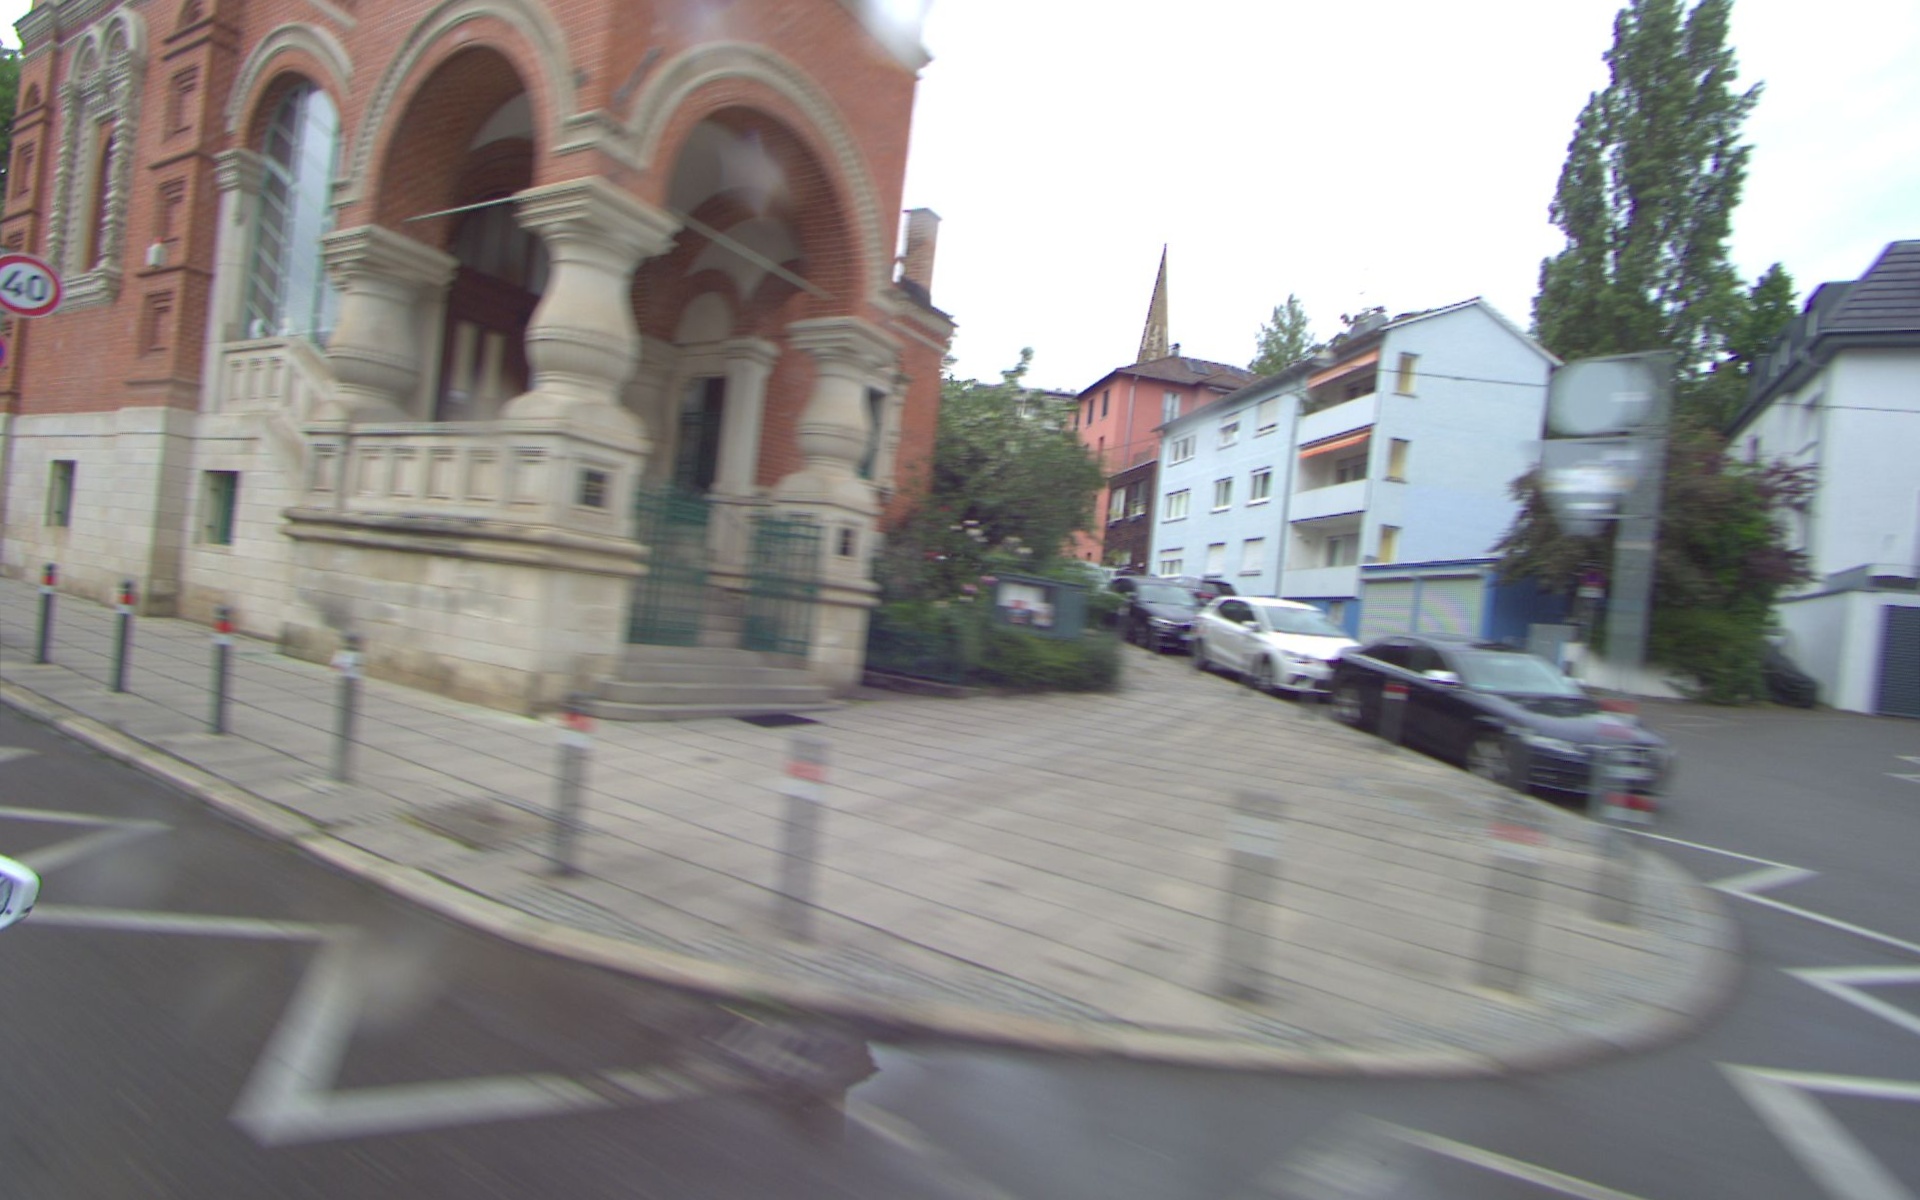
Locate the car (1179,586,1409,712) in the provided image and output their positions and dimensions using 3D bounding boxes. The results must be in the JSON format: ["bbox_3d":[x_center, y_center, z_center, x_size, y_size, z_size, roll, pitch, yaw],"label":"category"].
[{"bbox_3d":[5.511,0.728,17.200,1.914,1.516,3.916,6,3,-11],"label":"car"}]

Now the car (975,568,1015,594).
[{"bbox_3d":[2.277,-1.284,66.386,1.798,1.423,3.992,8,0,-8],"label":"car"}]

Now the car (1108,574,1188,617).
[{"bbox_3d":[7.477,-0.176,40.376,1.798,1.423,3.995,8,-1,-8],"label":"car"}]

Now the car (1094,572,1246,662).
[{"bbox_3d":[4.481,0.307,22.035,1.909,1.465,3.616,3,5,-11],"label":"car"}]

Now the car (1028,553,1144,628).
[{"bbox_3d":[3.365,-0.326,27.656,1.910,1.536,3.831,7,4,-11],"label":"car"}]

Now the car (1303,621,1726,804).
[{"bbox_3d":[6.212,1.172,12.042,1.910,1.386,4.466,5,2,-11],"label":"car"}]

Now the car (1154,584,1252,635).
[{"bbox_3d":[8.321,0.296,34.779,1.798,1.423,3.995,8,-1,-8],"label":"car"}]

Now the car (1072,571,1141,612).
[{"bbox_3d":[6.526,-0.374,45.170,1.798,1.549,3.994,8,-1,-8],"label":"car"}]

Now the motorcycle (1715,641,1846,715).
[{"bbox_3d":[19.322,1.806,23.794,0.934,1.555,2.473,7,-2,0],"label":"motorcycle"}]
